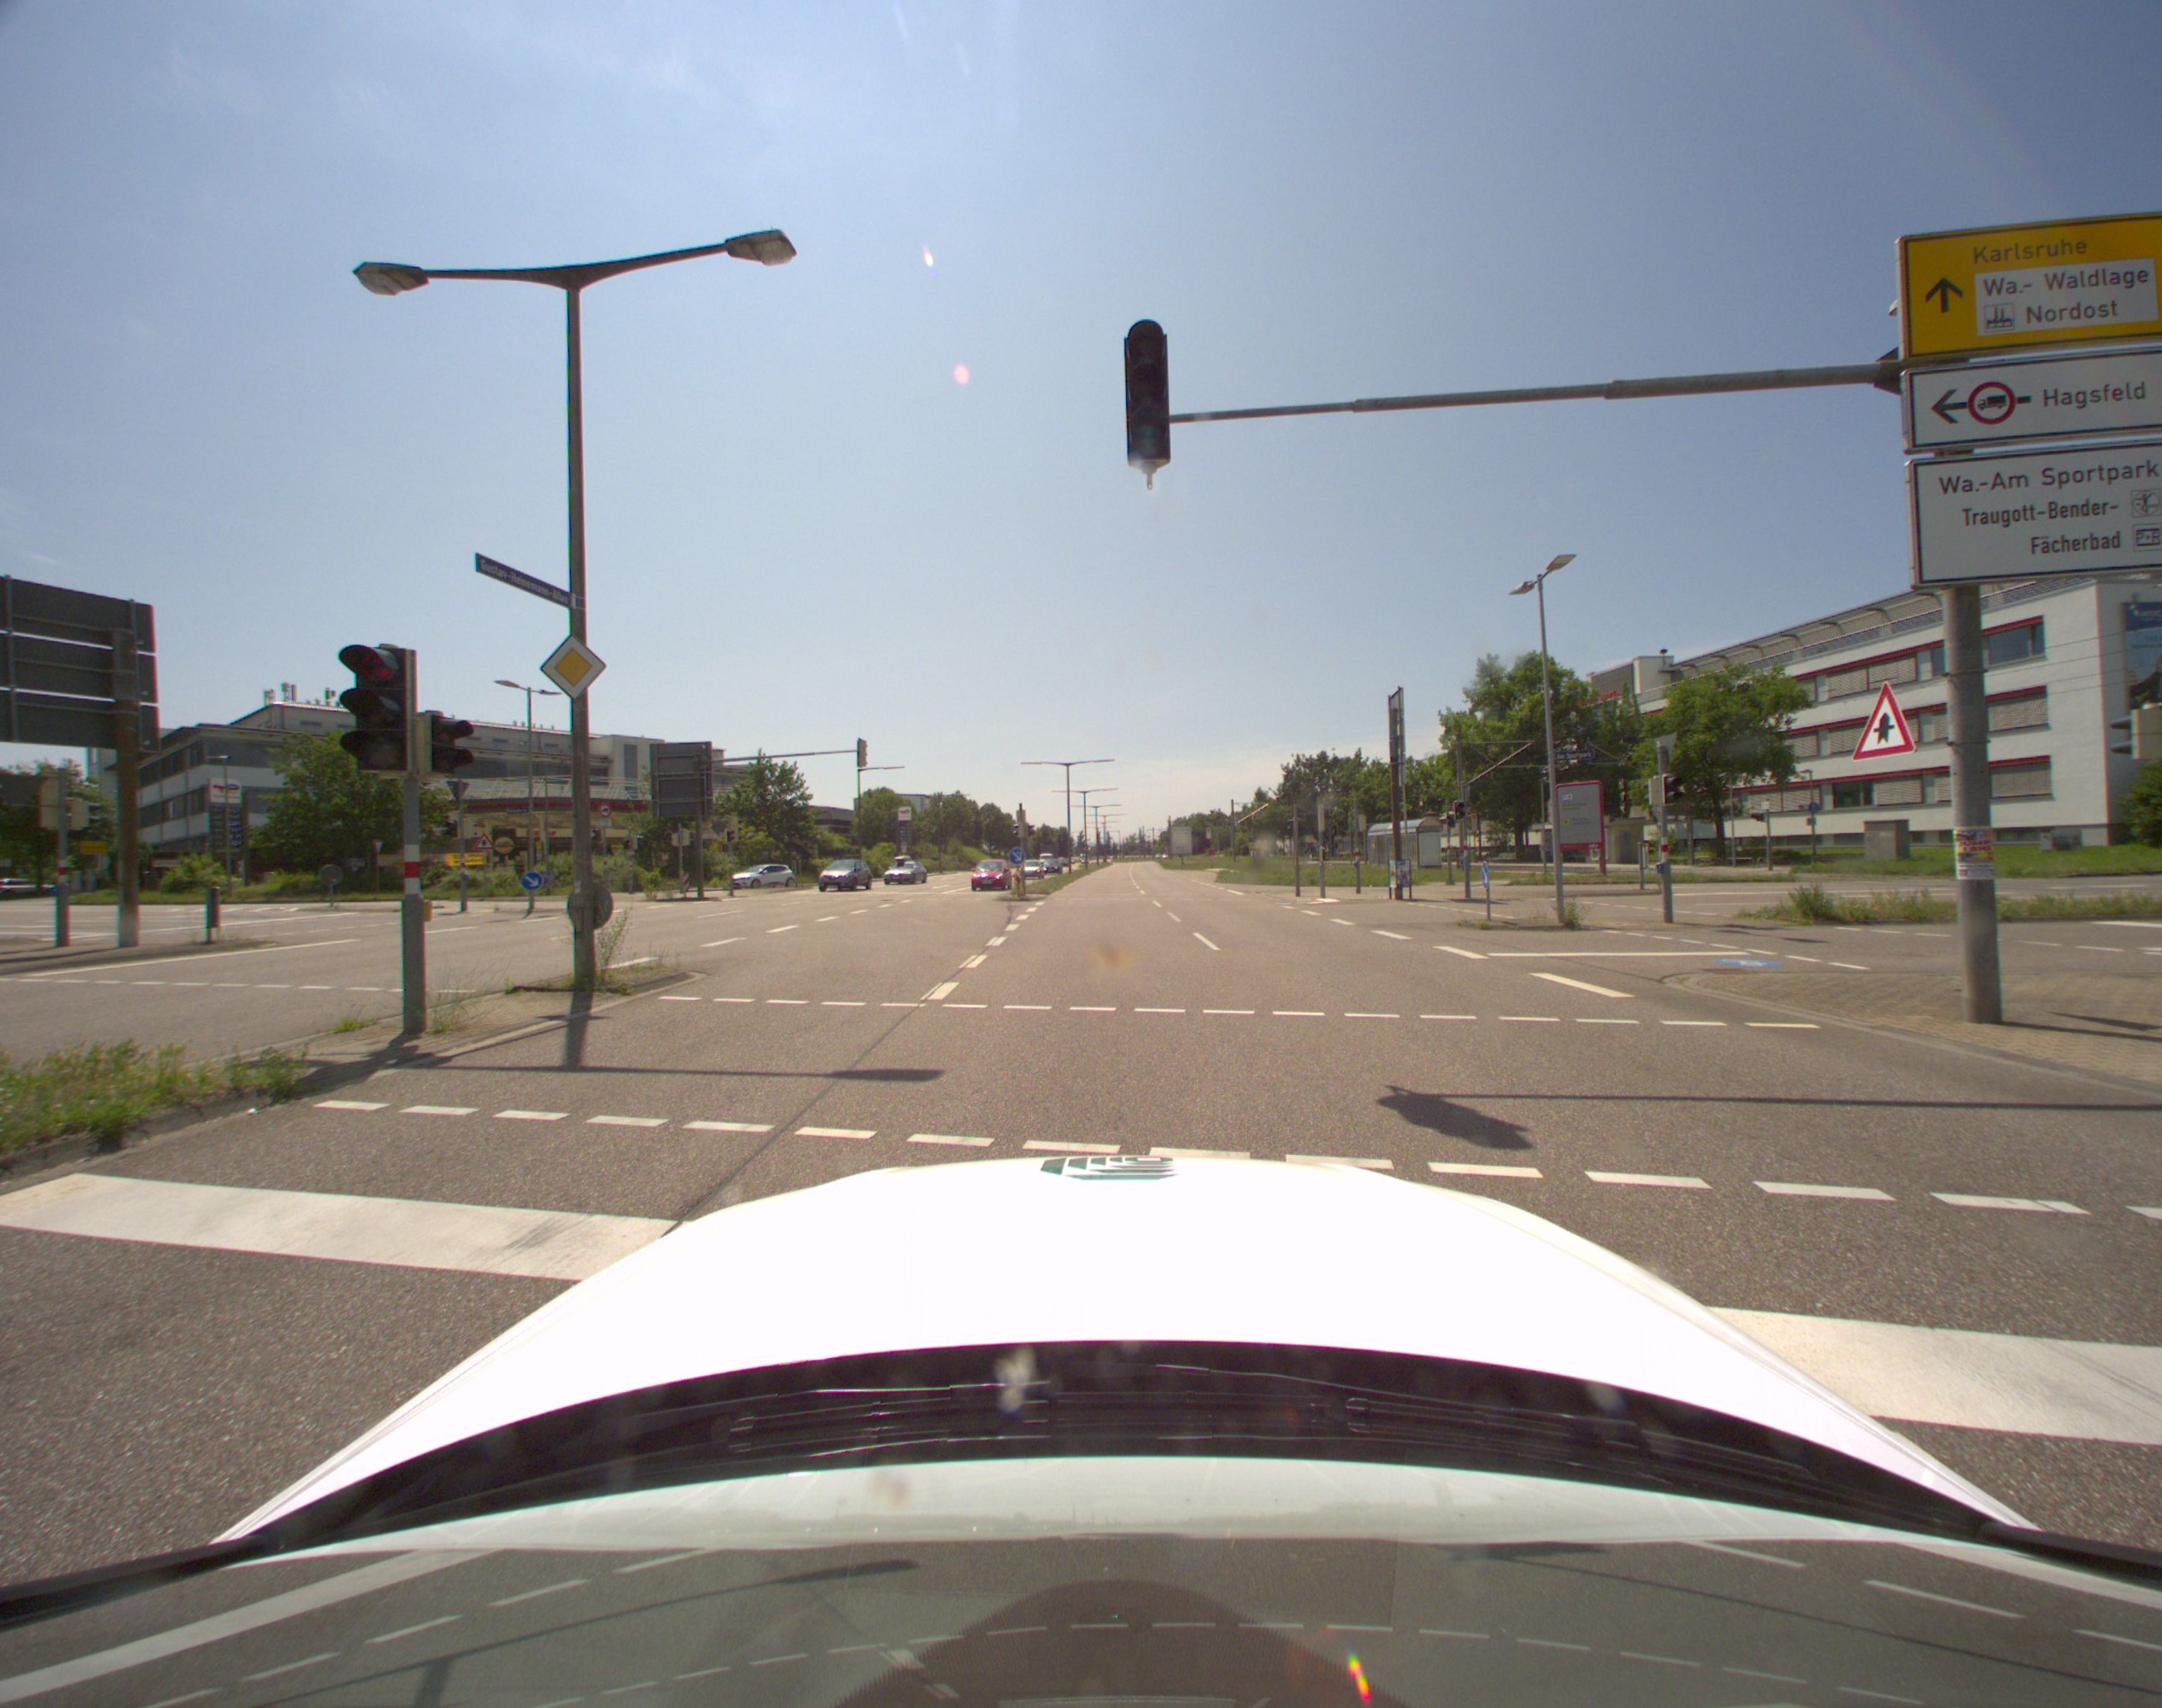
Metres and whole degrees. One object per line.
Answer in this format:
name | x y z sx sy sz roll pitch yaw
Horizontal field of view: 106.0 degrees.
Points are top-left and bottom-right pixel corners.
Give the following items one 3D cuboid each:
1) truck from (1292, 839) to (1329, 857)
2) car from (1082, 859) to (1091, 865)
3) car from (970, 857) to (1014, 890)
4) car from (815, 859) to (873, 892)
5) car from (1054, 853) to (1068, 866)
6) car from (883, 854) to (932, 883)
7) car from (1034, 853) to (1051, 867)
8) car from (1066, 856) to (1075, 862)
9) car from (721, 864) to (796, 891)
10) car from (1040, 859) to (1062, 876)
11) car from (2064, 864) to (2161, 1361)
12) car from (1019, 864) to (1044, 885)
truck | 41.325 -1.097 146.635 5.831 2.843 2.316 -3 -1 -5
car | 1.337 1.956 200.379 1.723 1.458 4.569 -2 0 4
car | -4.424 0.945 40.963 1.652 1.490 4.001 -2 0 1
car | -11.976 1.052 41.386 1.652 1.539 4.001 -2 0 1
car | -3.299 0.915 132.576 1.986 2.014 4.002 0 -1 2
car | -11.114 0.904 52.527 1.958 1.750 5.023 -2 0 1
car | -6.491 1.071 138.581 2.240 2.273 5.453 0 0 3
car | -2.488 1.165 190.022 1.824 1.449 4.853 -2 0 2
car | -18.959 1.352 48.041 1.806 1.449 3.849 -2 -1 25
car | -2.699 1.238 74.406 1.669 1.434 4.192 -1 0 2
car | 3.864 0.703 0.273 1.677 1.390 4.449 -1 0 0
car | -3.689 1.507 60.914 1.555 1.423 3.855 -1 0 1
